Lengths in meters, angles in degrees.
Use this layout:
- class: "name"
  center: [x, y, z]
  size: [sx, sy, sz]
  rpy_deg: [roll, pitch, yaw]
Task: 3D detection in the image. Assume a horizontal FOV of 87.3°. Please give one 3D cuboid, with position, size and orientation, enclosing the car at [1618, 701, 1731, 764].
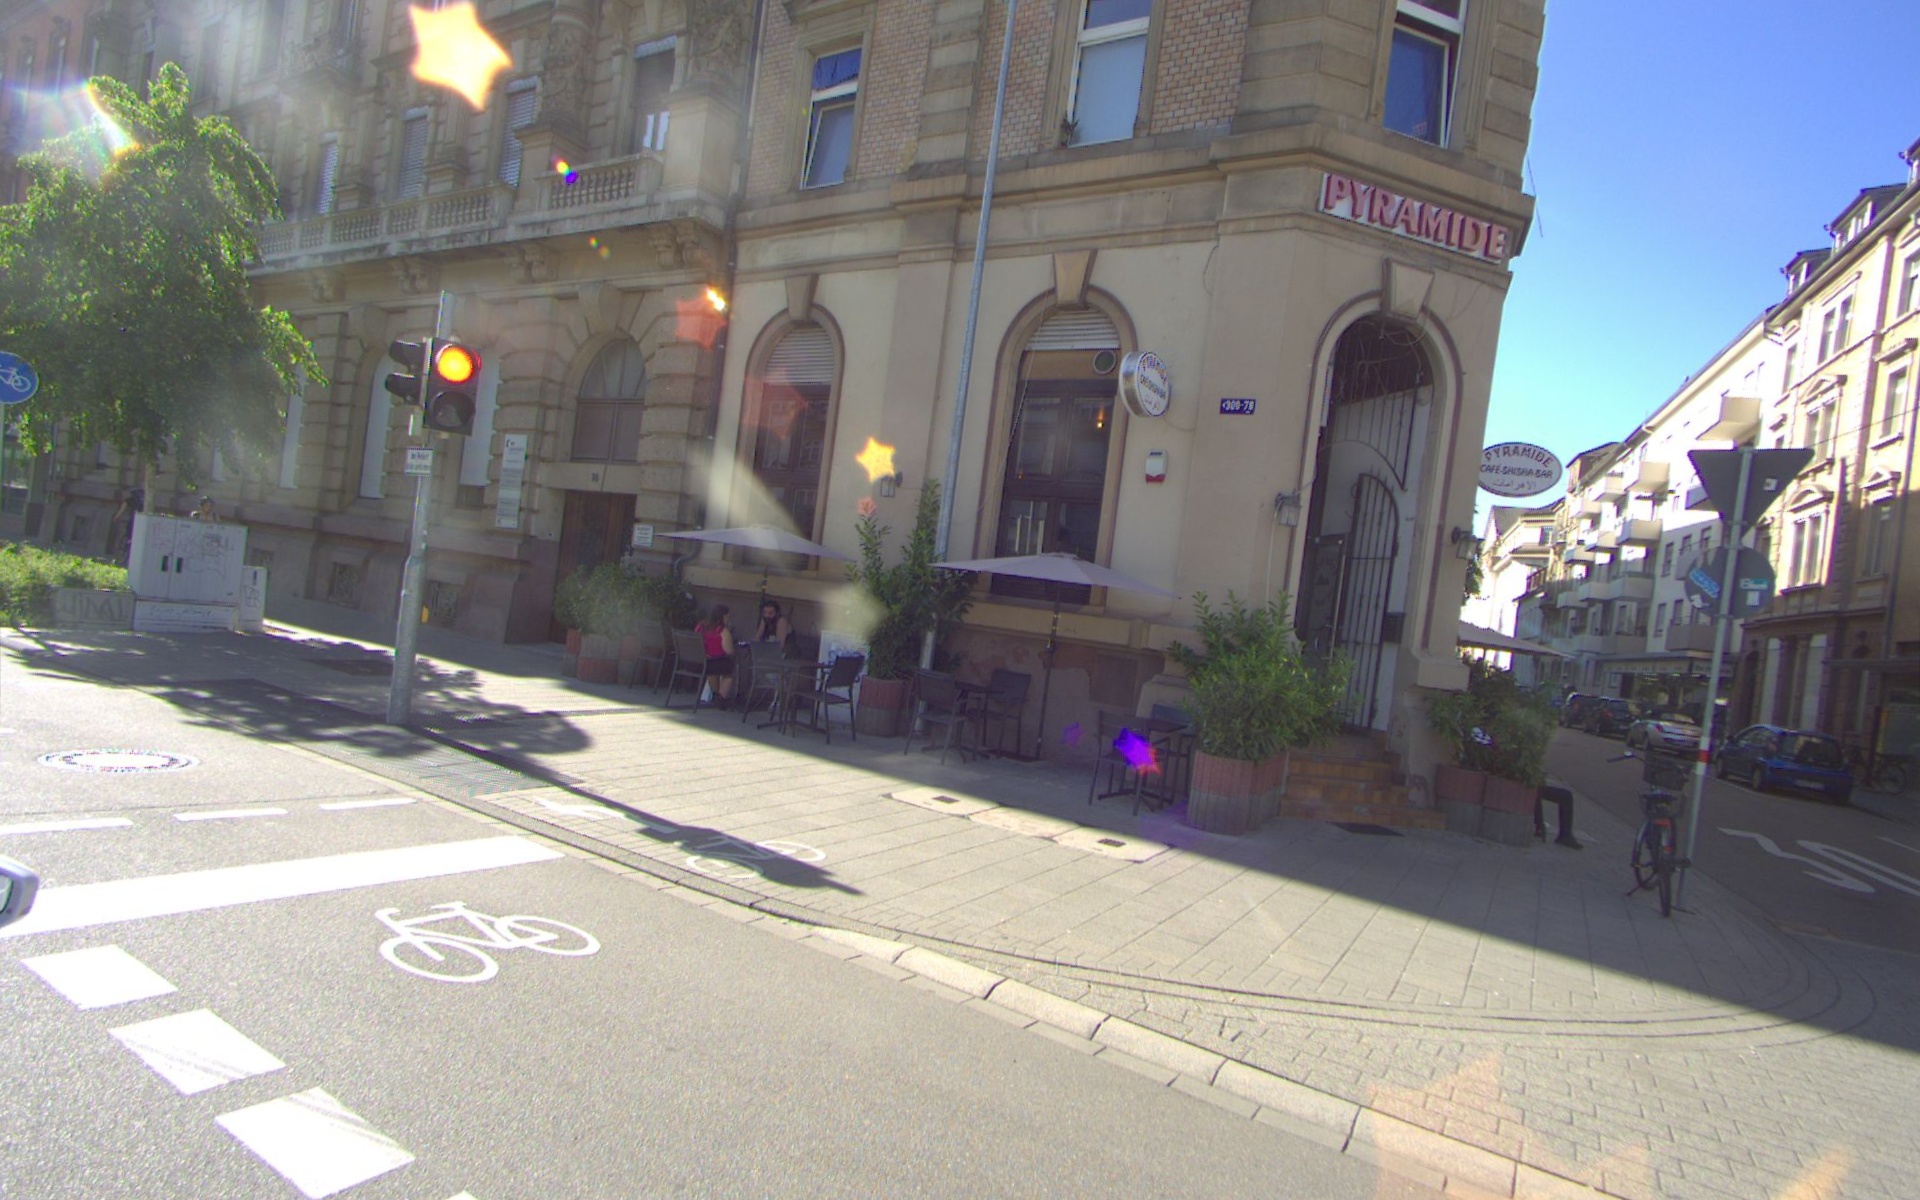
- class: "car"
  center: [21.828, 4.012, 30.908]
  size: [1.769, 1.350, 4.000]
  rpy_deg: [10, 0, 22]

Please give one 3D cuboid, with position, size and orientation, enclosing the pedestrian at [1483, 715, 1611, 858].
- class: "pedestrian"
  center: [5.992, 1.876, 10.340]
  size: [0.917, 1.228, 0.852]
  rpy_deg: [7, -1, 25]

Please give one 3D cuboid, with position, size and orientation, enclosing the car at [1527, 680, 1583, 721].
- class: "car"
  center: [30.118, 5.061, 51.006]
  size: [1.769, 1.685, 3.772]
  rpy_deg: [7, 0, 23]

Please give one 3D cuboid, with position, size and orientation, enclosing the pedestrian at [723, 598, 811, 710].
- class: "pedestrian"
  center: [-2.329, 0.652, 12.189]
  size: [0.624, 1.252, 0.706]
  rpy_deg: [7, 2, 31]

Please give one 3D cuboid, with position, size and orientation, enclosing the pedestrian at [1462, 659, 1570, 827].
- class: "pedestrian"
  center: [6.543, 1.660, 11.900]
  size: [0.852, 1.781, 0.909]
  rpy_deg: [8, -1, 25]

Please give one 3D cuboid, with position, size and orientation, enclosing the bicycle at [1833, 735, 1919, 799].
- class: "bicycle"
  center: [22.092, 3.984, 24.023]
  size: [0.621, 1.192, 2.014]
  rpy_deg: [7, 0, 1]

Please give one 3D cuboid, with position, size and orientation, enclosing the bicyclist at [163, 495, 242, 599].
- class: "bicyclist"
  center: [-13.073, -0.909, 17.364]
  size: [0.944, 1.659, 0.667]
  rpy_deg: [7, 1, 32]

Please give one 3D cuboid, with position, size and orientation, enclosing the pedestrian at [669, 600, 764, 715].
- class: "pedestrian"
  center: [-2.769, 0.647, 11.460]
  size: [0.624, 1.193, 0.706]
  rpy_deg: [7, 2, 31]

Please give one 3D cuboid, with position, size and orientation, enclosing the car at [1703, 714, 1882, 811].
- class: "car"
  center: [18.460, 3.541, 22.548]
  size: [1.769, 1.437, 4.000]
  rpy_deg: [10, 0, 22]

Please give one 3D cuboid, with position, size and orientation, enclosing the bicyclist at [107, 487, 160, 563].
- class: "bicyclist"
  center: [-17.963, -1.617, 21.861]
  size: [0.788, 1.552, 0.660]
  rpy_deg: [8, 5, 33]

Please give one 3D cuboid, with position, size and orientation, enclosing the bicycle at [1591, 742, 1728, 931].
- class: "bicycle"
  center: [5.689, 1.840, 8.200]
  size: [0.643, 1.186, 1.818]
  rpy_deg: [12, 2, 35]

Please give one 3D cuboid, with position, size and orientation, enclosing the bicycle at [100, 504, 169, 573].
- class: "bicycle"
  center: [-18.038, -1.351, 21.963]
  size: [1.869, 1.349, 0.615]
  rpy_deg: [8, 5, 33]

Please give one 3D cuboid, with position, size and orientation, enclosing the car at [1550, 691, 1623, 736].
- class: "car"
  center: [25.847, 4.647, 41.648]
  size: [1.769, 1.449, 3.773]
  rpy_deg: [7, -1, 22]

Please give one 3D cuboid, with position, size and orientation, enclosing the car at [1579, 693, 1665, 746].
- class: "car"
  center: [24.065, 4.313, 36.703]
  size: [1.769, 1.449, 3.773]
  rpy_deg: [7, -1, 22]
